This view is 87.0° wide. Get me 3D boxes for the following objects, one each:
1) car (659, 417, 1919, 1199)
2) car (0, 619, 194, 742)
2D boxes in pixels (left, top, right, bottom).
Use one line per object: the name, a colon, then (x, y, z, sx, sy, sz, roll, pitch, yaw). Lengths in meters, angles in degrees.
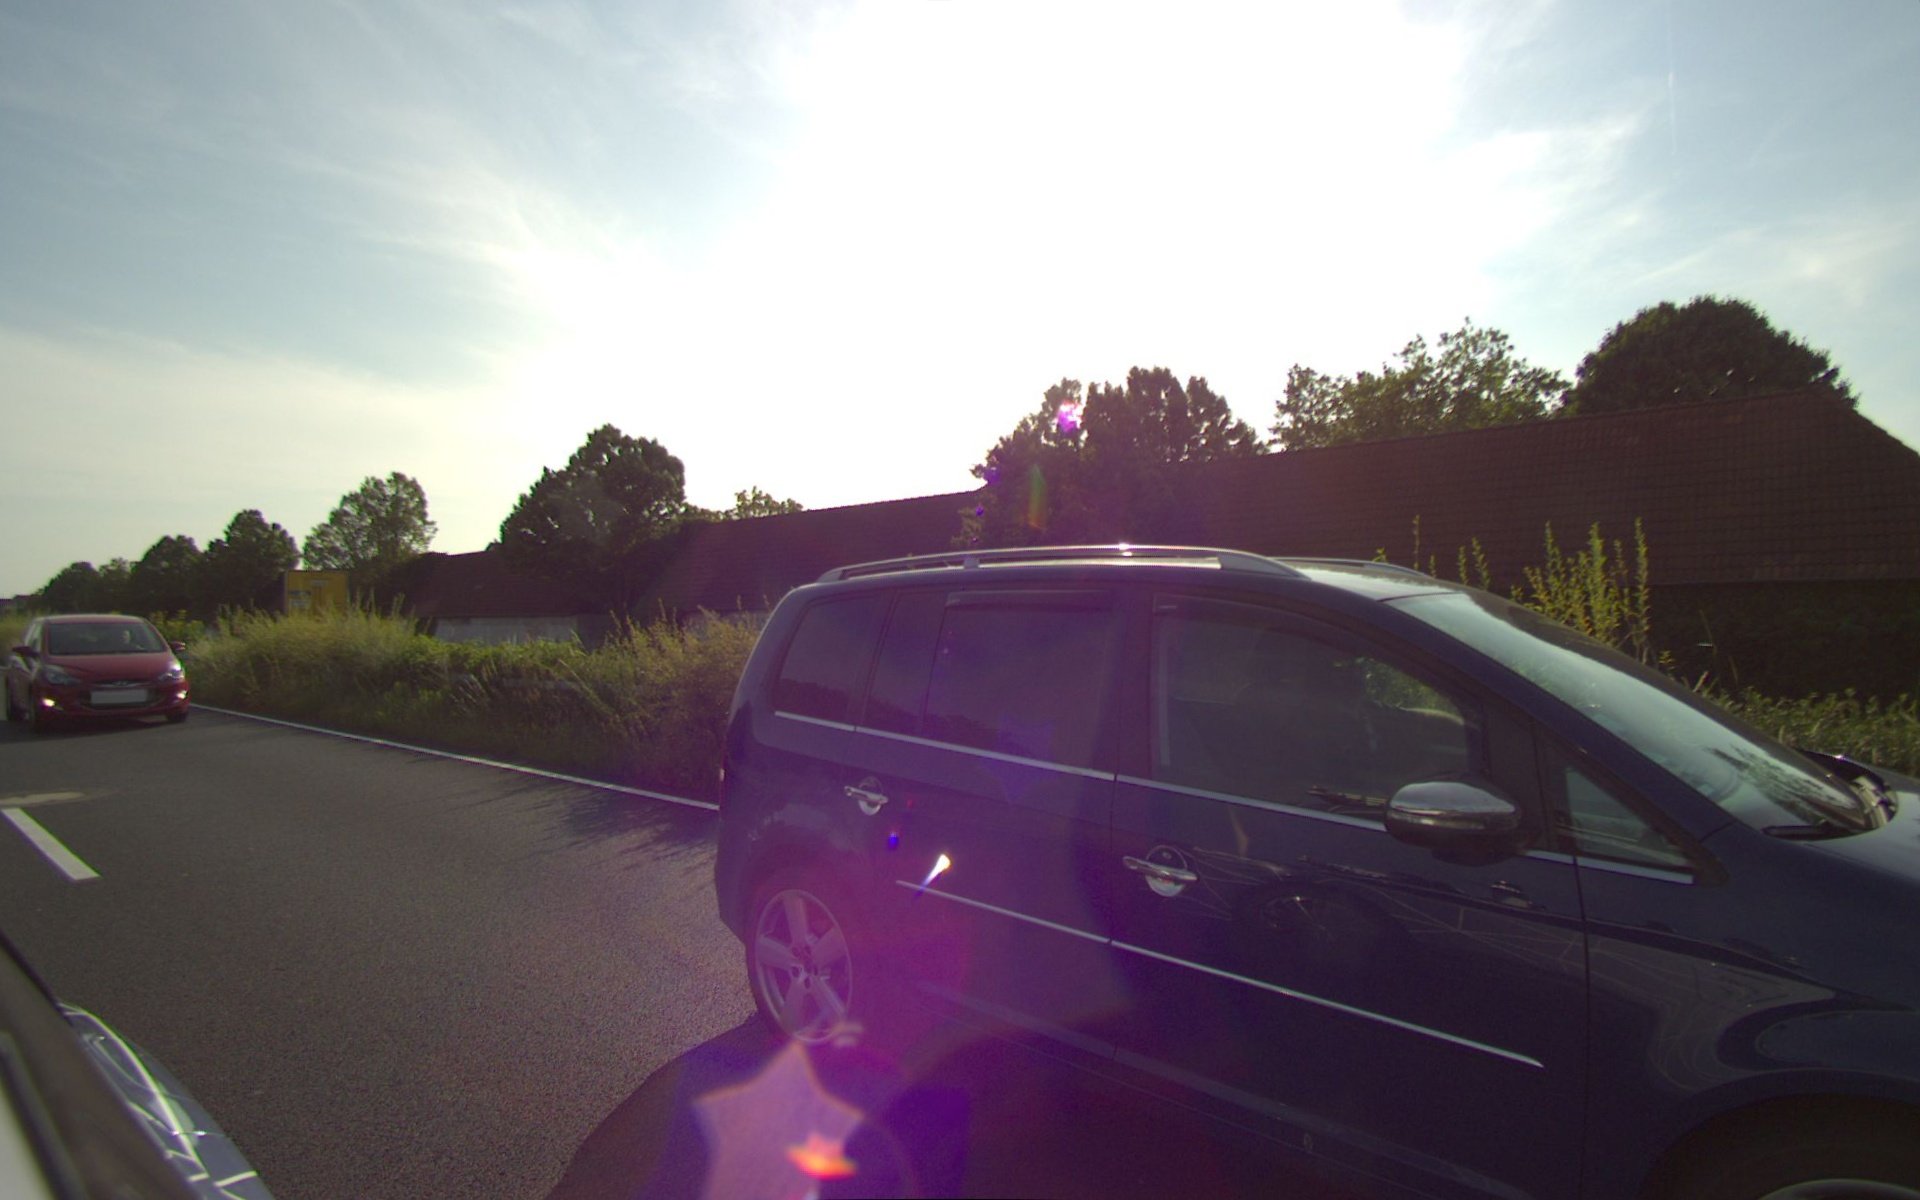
car: (1.207, 0.565, 2.853, 4.680, 1.634, 1.754, -1, -1, 42)
car: (-13.031, 1.086, 15.151, 3.998, 1.557, 1.726, -1, 0, 41)
